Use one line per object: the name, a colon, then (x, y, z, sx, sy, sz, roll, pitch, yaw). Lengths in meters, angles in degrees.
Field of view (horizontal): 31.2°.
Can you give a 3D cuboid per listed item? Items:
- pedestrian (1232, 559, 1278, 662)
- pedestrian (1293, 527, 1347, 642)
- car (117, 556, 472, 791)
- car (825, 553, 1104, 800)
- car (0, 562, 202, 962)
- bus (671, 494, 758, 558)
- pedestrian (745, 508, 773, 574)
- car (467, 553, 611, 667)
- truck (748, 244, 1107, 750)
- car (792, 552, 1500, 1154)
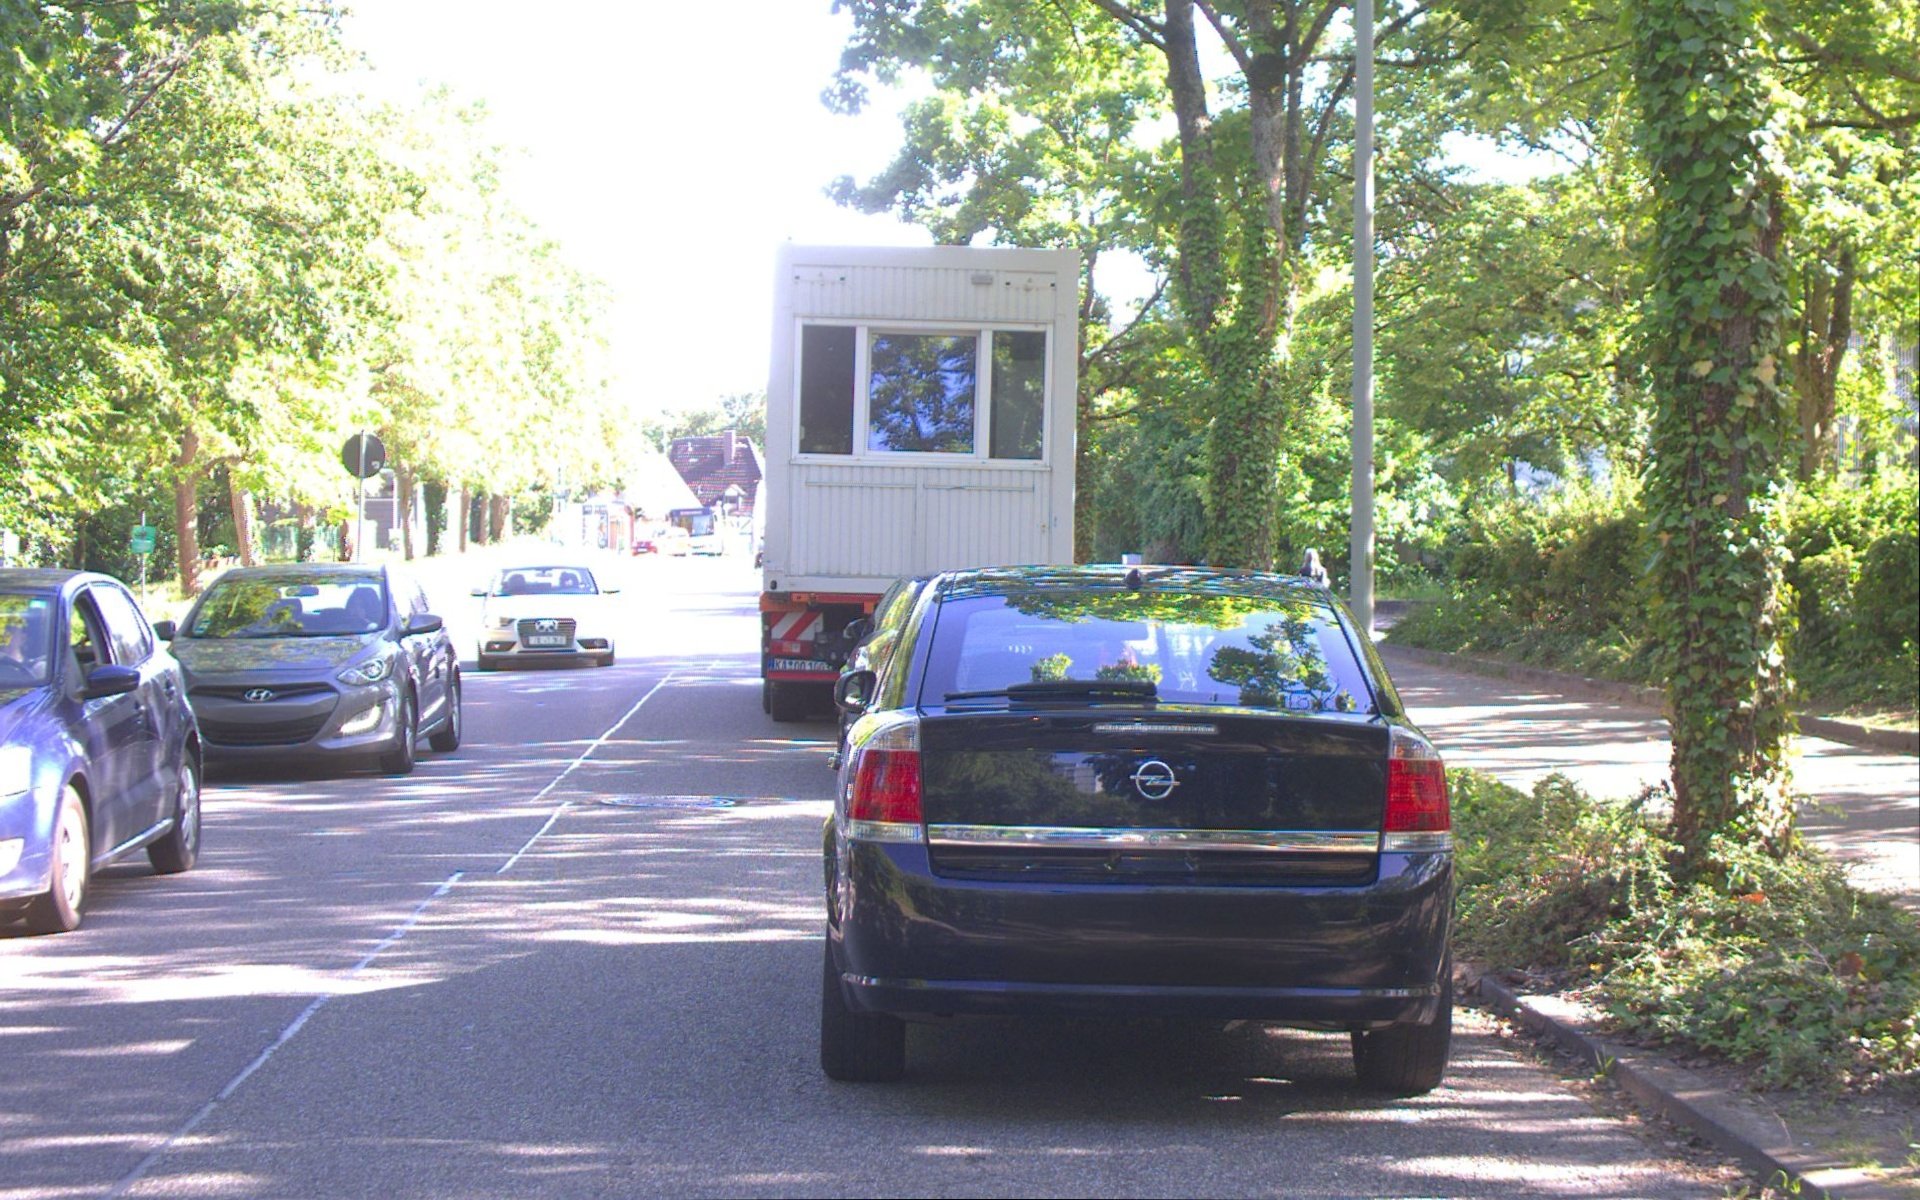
pedestrian: (4.664, 0.168, 54.422, 0.598, 1.605, 0.600, -1, 1, -5)
pedestrian: (5.706, -0.249, 54.530, 0.698, 1.806, 0.700, -1, 1, -5)
car: (-4.602, 0.448, 24.348, 1.755, 1.449, 4.243, -1, 1, -1)
car: (0.010, 0.429, 22.557, 1.640, 1.415, 4.000, -1, 1, 0)
car: (-4.295, 0.590, 14.384, 1.600, 1.421, 3.652, -1, 1, -3)
bus: (-13.338, -4.041, 187.361, 4.065, 3.337, 9.801, -1, 1, 0)
pedestrian: (-6.471, -1.900, 110.653, 0.752, 2.106, 0.799, 2, 1, 0)
car: (-5.649, 0.101, 46.505, 1.786, 1.412, 4.105, -1, 1, -5)
truck: (-0.547, -0.928, 32.759, 2.772, 3.982, 10.350, 2, 1, -3)
car: (0.439, 0.620, 10.633, 1.748, 1.475, 4.031, 1, 0, -1)
